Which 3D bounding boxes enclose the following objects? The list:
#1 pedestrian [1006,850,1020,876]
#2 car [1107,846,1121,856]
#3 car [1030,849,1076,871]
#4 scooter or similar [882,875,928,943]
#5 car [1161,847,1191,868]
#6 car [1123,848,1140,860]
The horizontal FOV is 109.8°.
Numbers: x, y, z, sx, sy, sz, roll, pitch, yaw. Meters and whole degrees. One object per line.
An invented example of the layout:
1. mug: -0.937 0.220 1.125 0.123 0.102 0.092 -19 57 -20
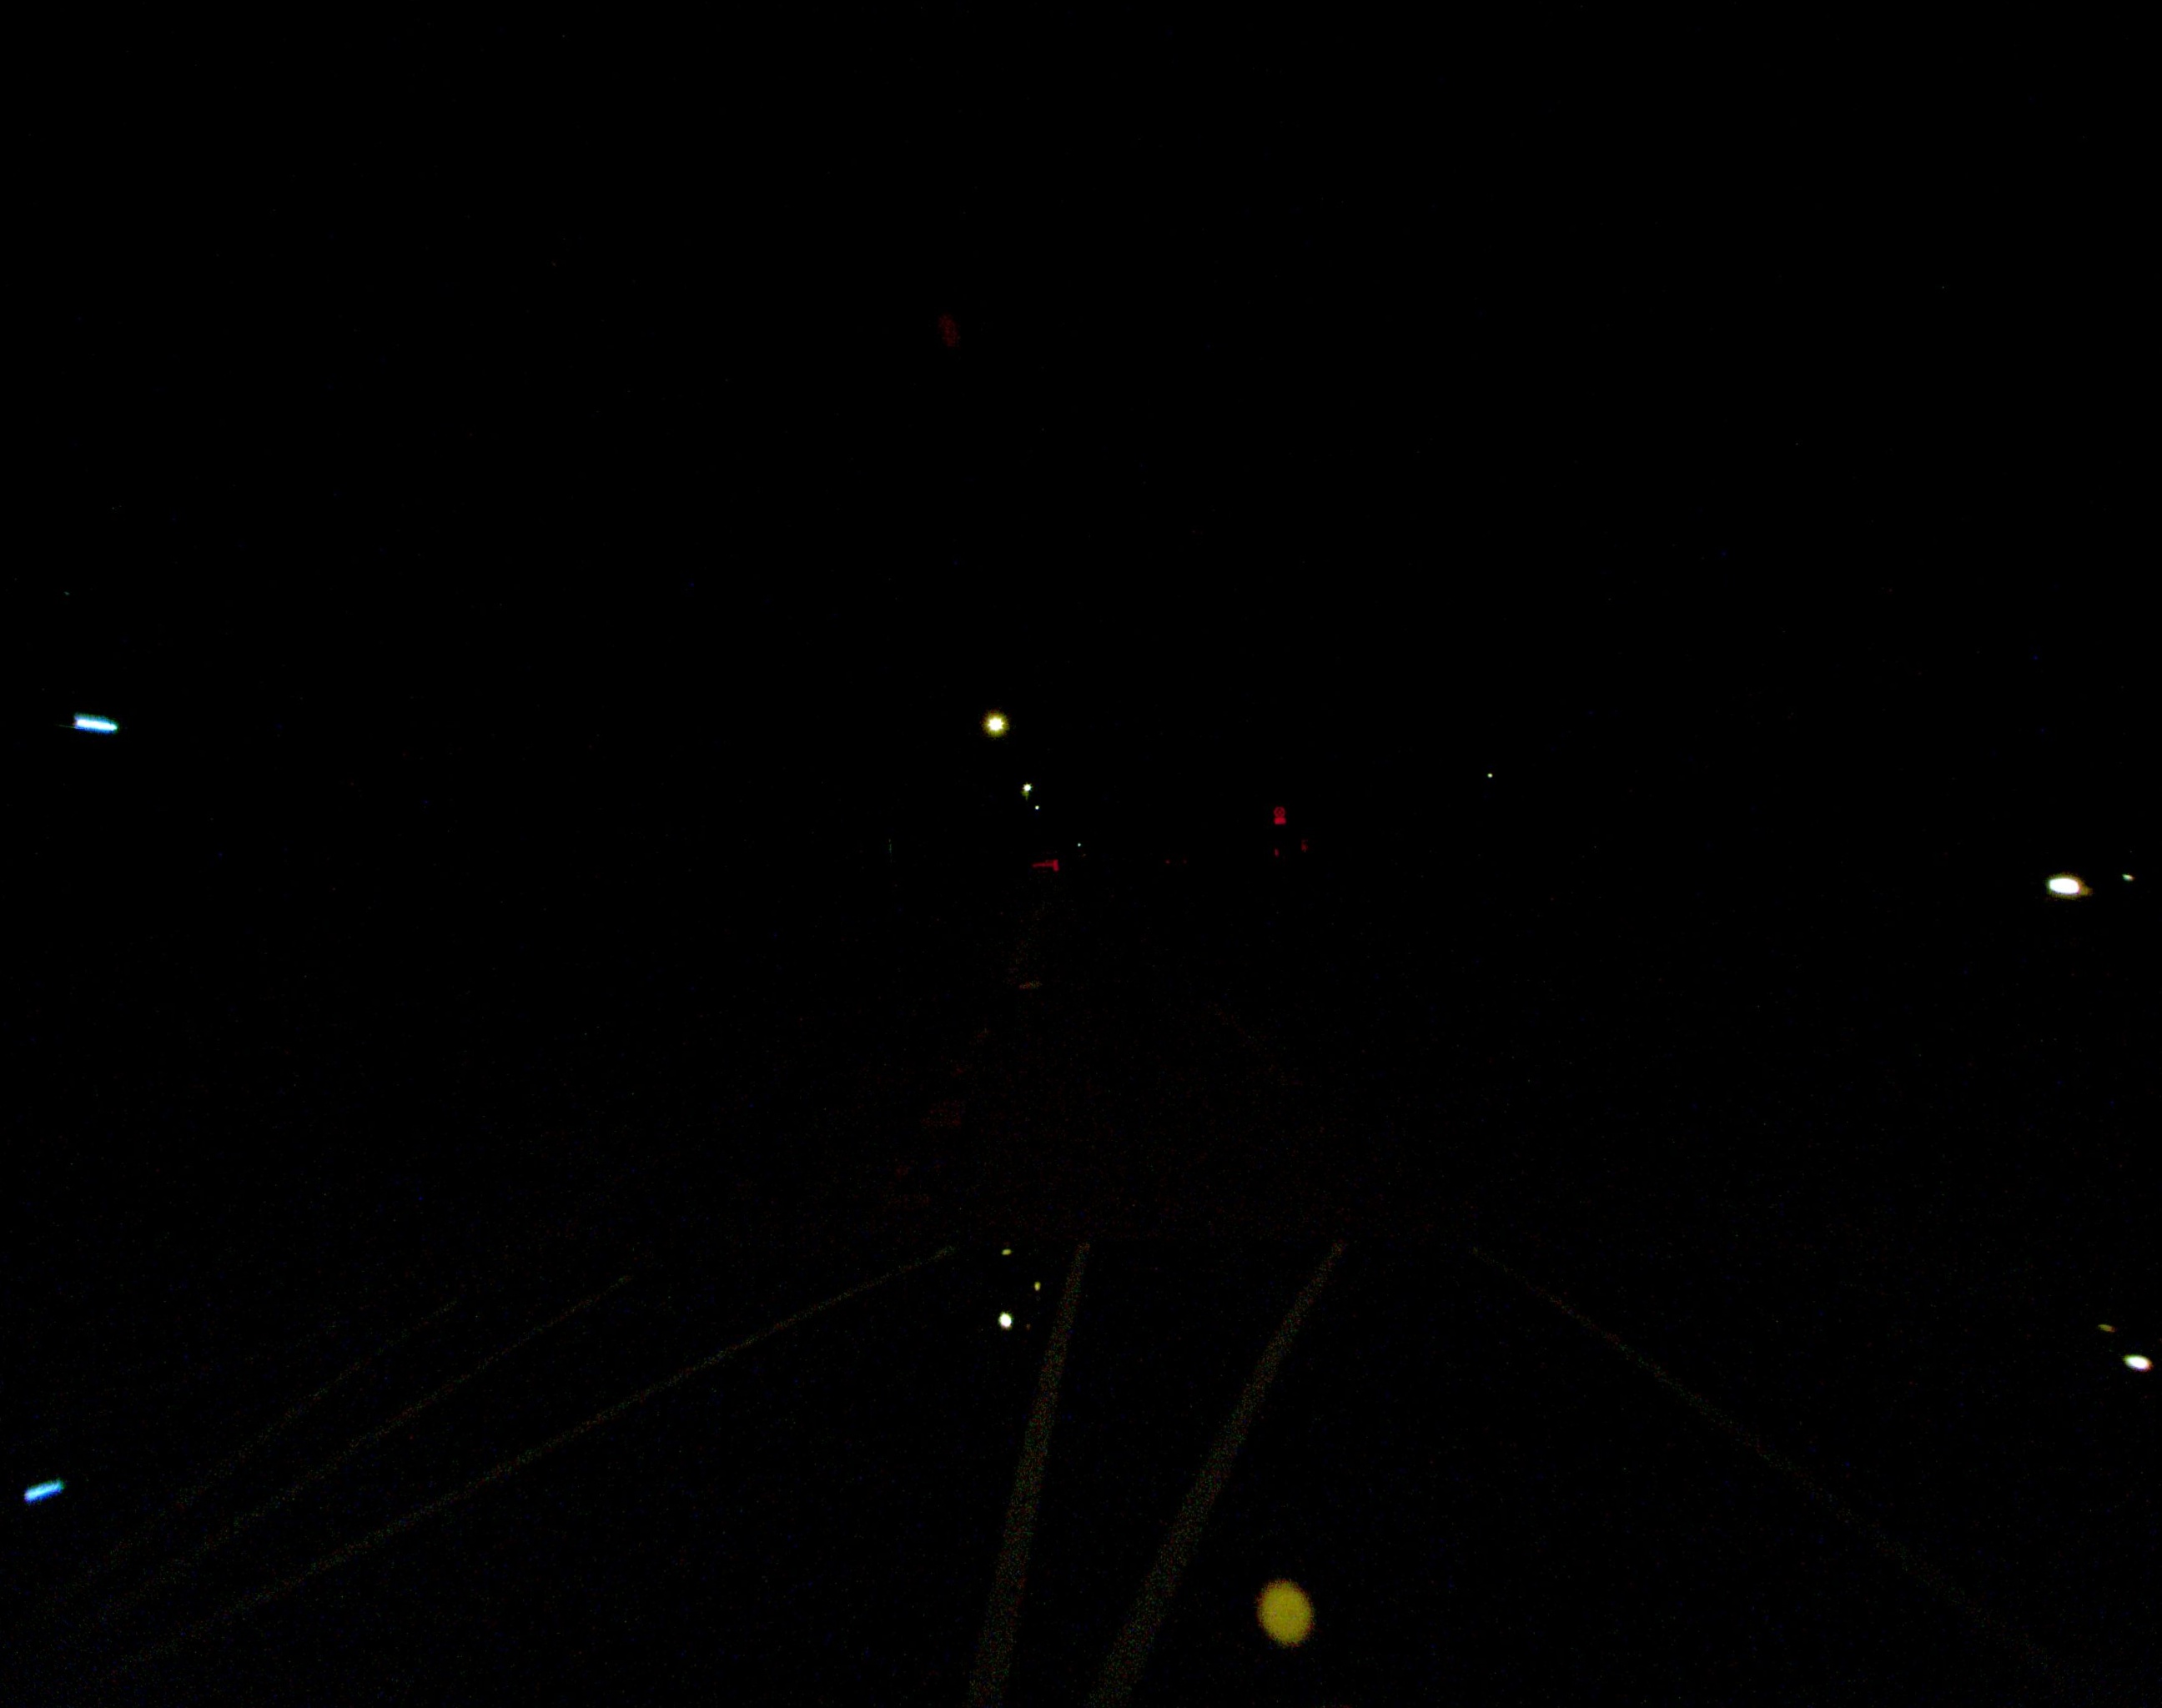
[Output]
1. pedestrian: -4.818 0.656 54.093 0.824 1.809 0.608 -3 2 1
2. car: 5.109 -0.494 117.397 1.911 1.445 3.999 -3 2 1
3. car: -2.557 0.540 69.812 3.997 1.821 1.912 -3 2 1
4. scooter or similar: -3.551 1.084 15.416 0.570 1.271 1.391 0 0 1
5. car: 7.452 0.248 60.032 1.911 1.445 3.999 -3 2 1
6. car: 6.577 -0.010 99.587 1.911 1.445 3.999 -3 2 1
